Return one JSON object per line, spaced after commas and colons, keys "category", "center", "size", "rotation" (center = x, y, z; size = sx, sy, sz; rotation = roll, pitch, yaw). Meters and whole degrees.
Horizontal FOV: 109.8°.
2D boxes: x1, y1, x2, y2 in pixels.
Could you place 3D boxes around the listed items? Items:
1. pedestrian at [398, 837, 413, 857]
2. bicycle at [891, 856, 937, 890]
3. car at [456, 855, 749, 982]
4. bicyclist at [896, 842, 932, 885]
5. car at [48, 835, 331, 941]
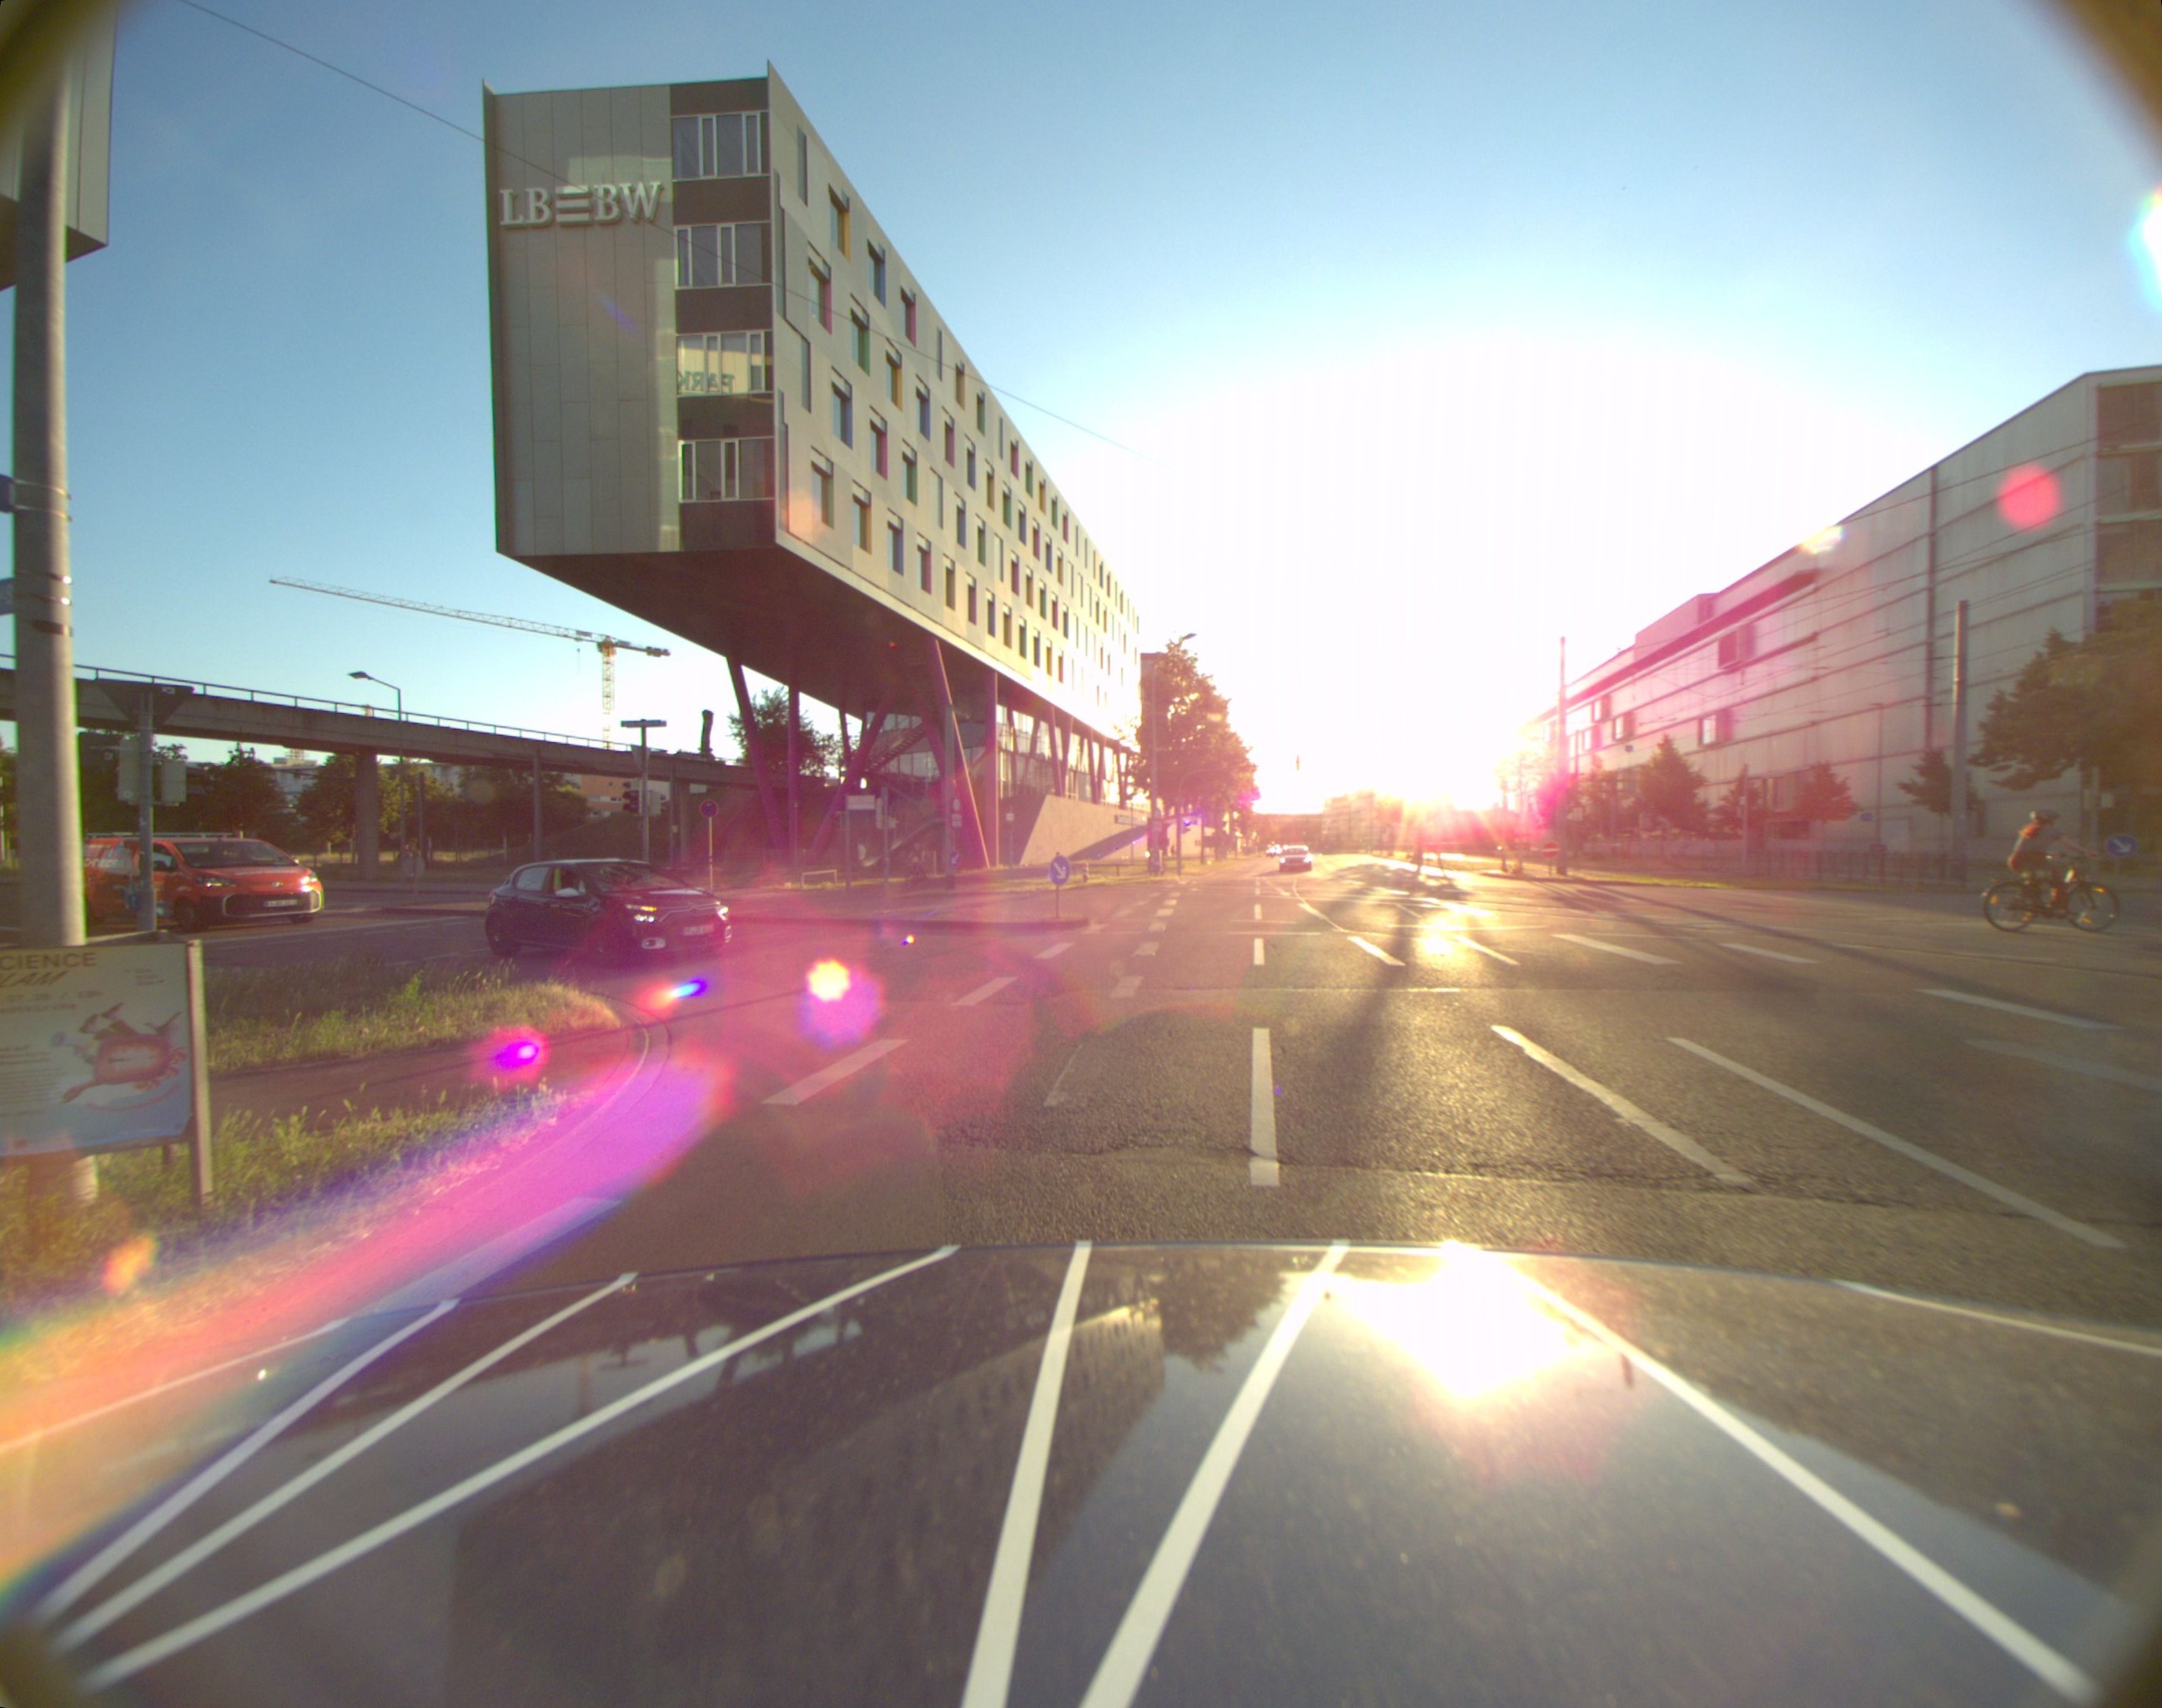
{"category": "pedestrian", "center": [-54.690, -0.561, 61.534], "size": [0.415, 1.602, 0.781], "rotation": [1, 2, 29]}
{"category": "bicycle", "center": [-6.357, 0.703, 29.070], "size": [0.741, 1.200, 2.113], "rotation": [1, 1, 19]}
{"category": "car", "center": [-7.139, 0.820, 11.311], "size": [4.061, 1.543, 1.764], "rotation": [1, 2, 25]}
{"category": "bicyclist", "center": [-6.373, 0.339, 29.032], "size": [0.806, 1.624, 1.289], "rotation": [1, 2, 18]}
{"category": "car", "center": [-18.572, 0.606, 15.878], "size": [4.812, 1.980, 1.934], "rotation": [0, 2, 16]}
